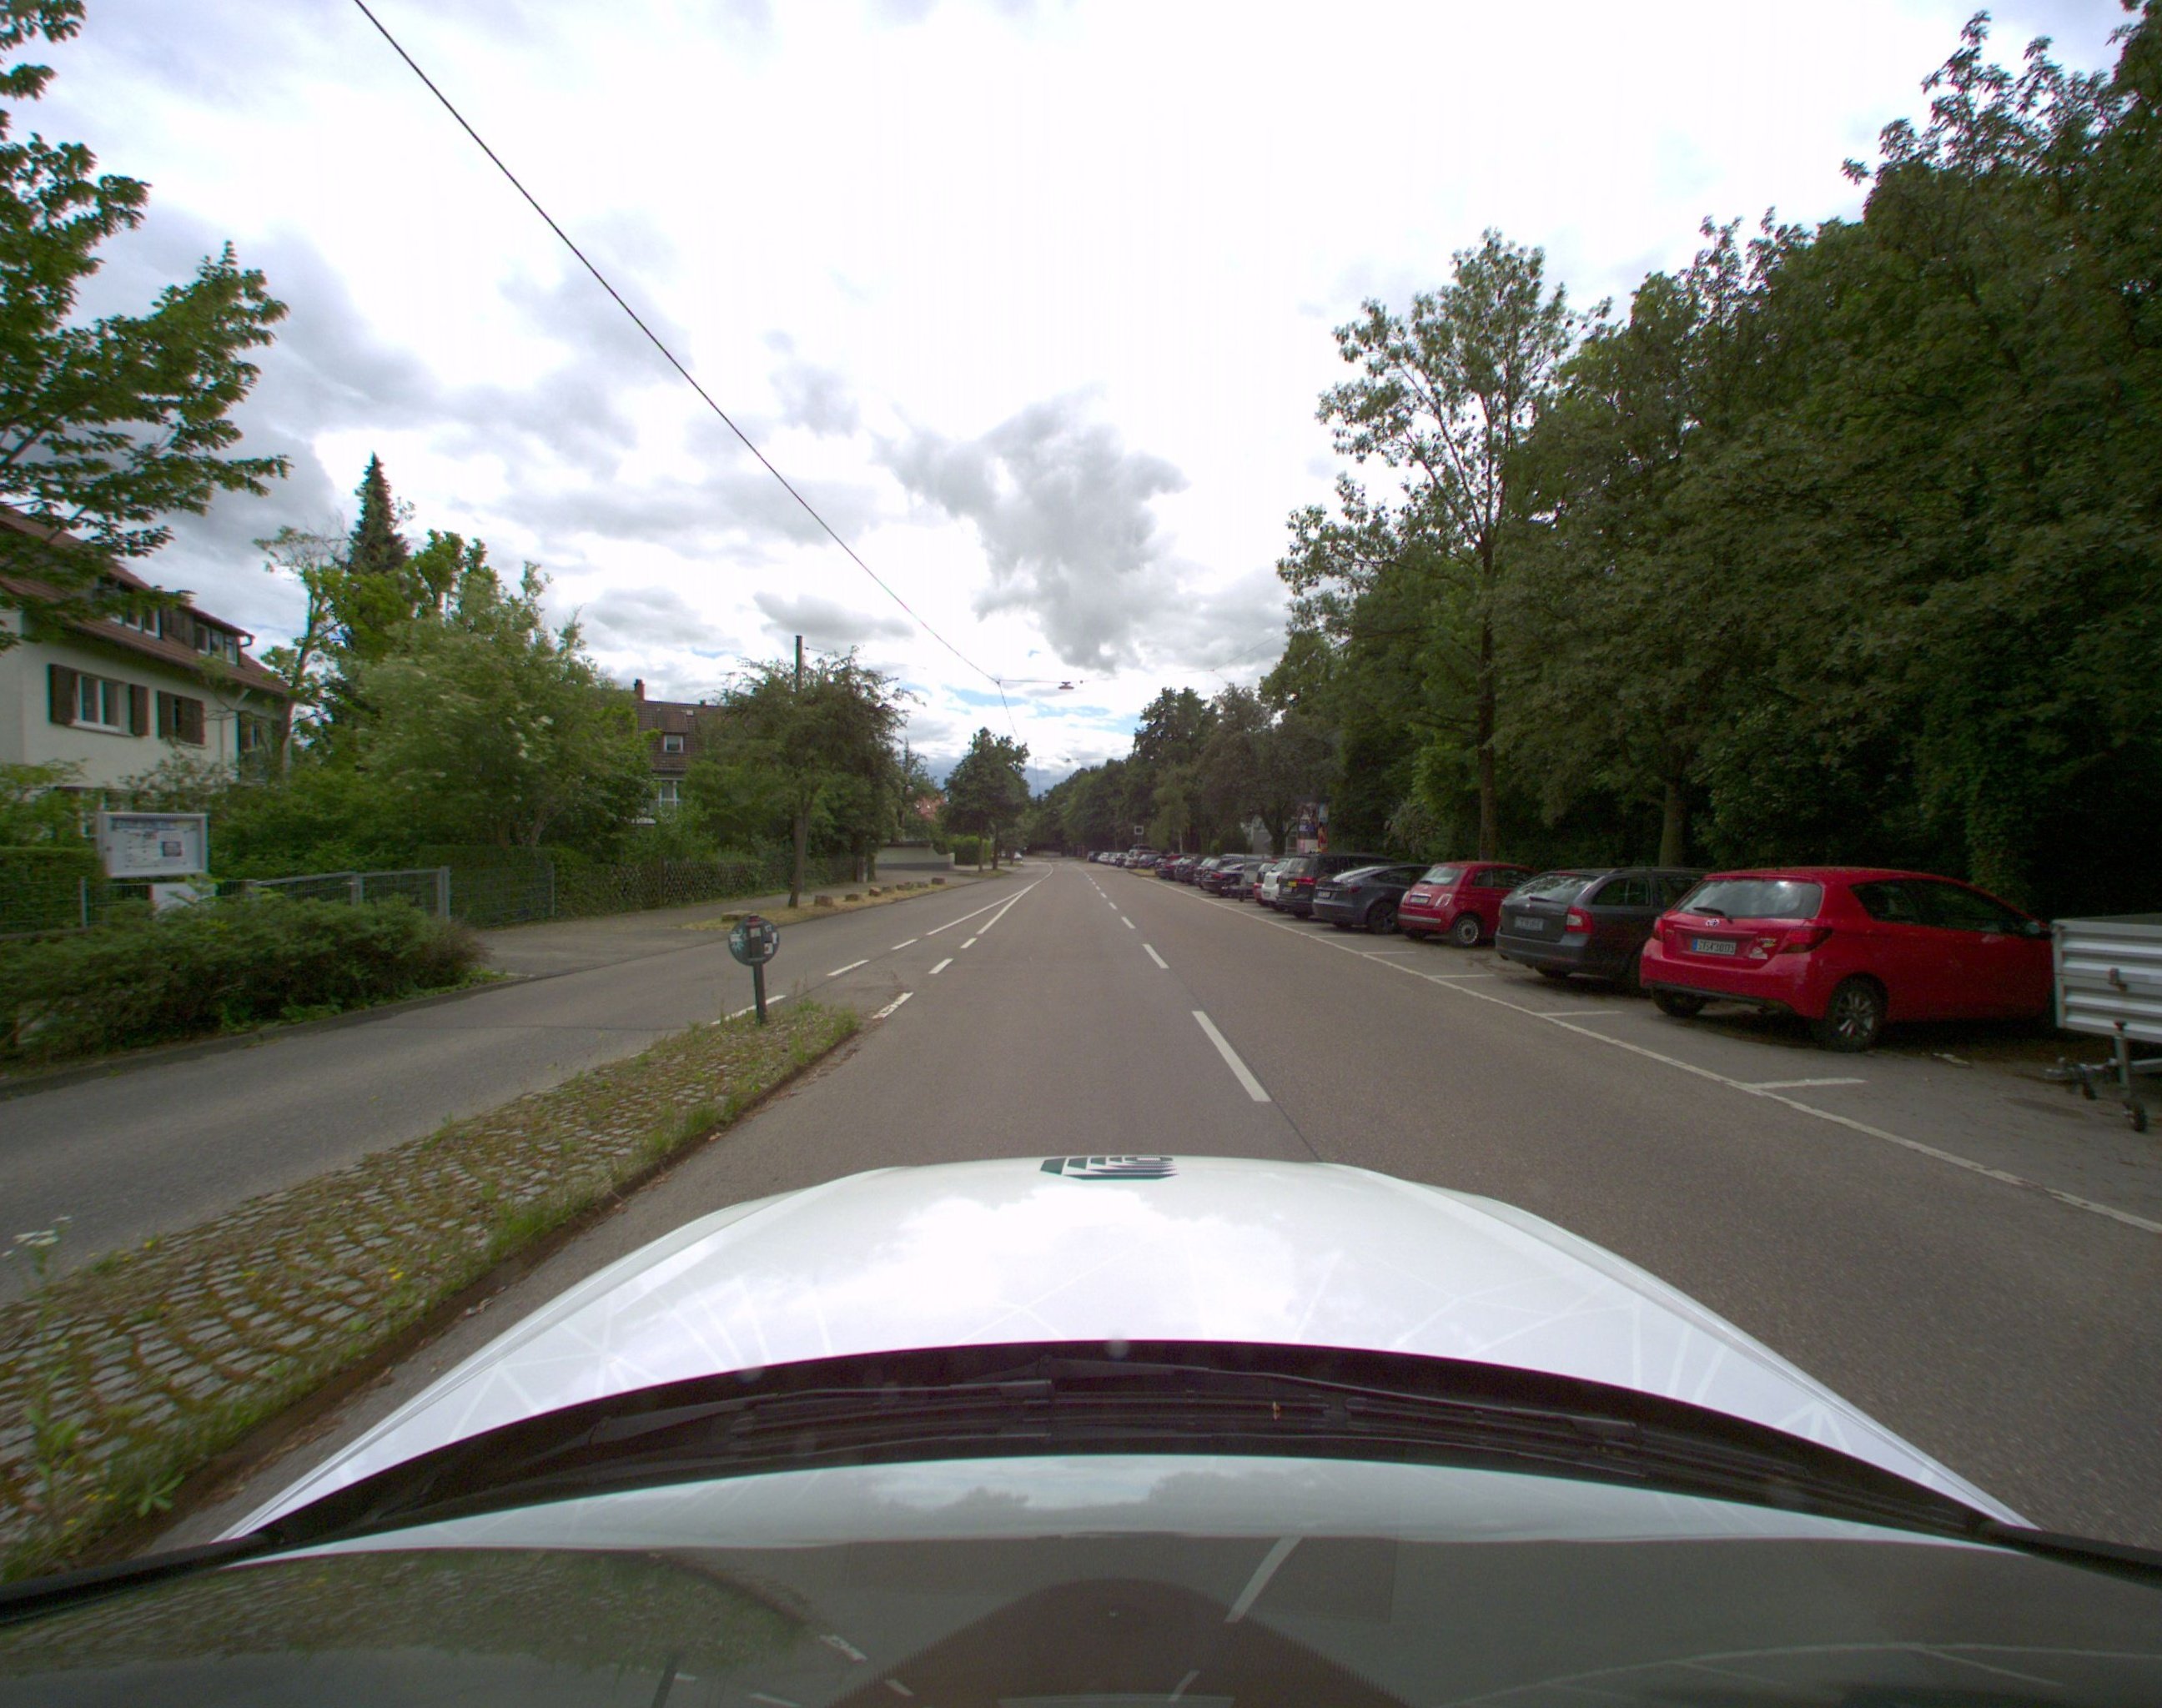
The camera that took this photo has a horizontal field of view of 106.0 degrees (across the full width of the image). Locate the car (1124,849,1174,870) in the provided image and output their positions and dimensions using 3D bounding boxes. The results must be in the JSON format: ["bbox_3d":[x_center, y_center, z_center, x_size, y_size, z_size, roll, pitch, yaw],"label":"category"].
[{"bbox_3d":[6.005,0.446,71.752,4.109,1.754,1.771,1,0,-28],"label":"car"}]

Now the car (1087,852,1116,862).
[{"bbox_3d":[2.973,0.488,119.627,3.898,1.429,1.732,1,0,-21],"label":"car"}]

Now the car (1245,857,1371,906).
[{"bbox_3d":[6.974,0.842,25.121,3.428,1.445,1.552,1,0,-13],"label":"car"}]

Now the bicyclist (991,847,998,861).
[{"bbox_3d":[-10.822,-0.007,101.850,0.843,1.697,0.712,1,1,-5],"label":"bicyclist"}]

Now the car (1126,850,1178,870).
[{"bbox_3d":[5.995,0.516,68.862,4.006,1.620,1.874,1,0,-17],"label":"car"}]

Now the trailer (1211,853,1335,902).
[{"bbox_3d":[6.434,0.791,27.389,3.691,1.535,1.639,1,0,-12],"label":"trailer"}]

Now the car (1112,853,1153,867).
[{"bbox_3d":[5.390,0.606,85.331,3.903,1.449,1.829,1,0,-25],"label":"car"}]

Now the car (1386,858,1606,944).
[{"bbox_3d":[7.597,0.831,15.030,3.327,1.464,1.629,1,0,-11],"label":"car"}]

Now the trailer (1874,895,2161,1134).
[{"bbox_3d":[7.574,0.945,5.445,3.402,1.267,1.611,1,-1,-11],"label":"trailer"}]

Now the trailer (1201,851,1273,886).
[{"bbox_3d":[7.218,0.683,37.769,2.990,1.542,1.297,1,1,-14],"label":"trailer"}]

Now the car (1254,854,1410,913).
[{"bbox_3d":[6.901,0.791,22.592,3.814,1.529,1.603,1,0,-5],"label":"car"}]

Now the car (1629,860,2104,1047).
[{"bbox_3d":[7.316,0.822,7.695,3.527,1.476,1.585,1,0,-13],"label":"car"}]

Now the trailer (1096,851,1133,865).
[{"bbox_3d":[4.094,0.516,98.611,4.168,1.573,1.700,1,0,-20],"label":"trailer"}]

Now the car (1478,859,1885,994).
[{"bbox_3d":[7.376,0.832,10.145,4.219,1.464,1.629,1,0,-10],"label":"car"}]

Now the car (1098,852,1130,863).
[{"bbox_3d":[4.326,0.504,107.091,3.898,1.429,1.732,1,0,-21],"label":"car"}]

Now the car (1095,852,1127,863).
[{"bbox_3d":[4.000,0.463,109.657,3.898,1.429,1.732,1,0,-21],"label":"car"}]

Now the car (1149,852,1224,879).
[{"bbox_3d":[6.262,0.669,48.330,4.089,1.515,1.720,0,0,-23],"label":"car"}]

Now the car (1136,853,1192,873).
[{"bbox_3d":[6.449,0.681,63.456,3.972,1.405,1.747,1,0,-16],"label":"car"}]

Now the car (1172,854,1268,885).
[{"bbox_3d":[6.814,0.748,39.975,4.352,1.445,1.626,1,0,-15],"label":"car"}]

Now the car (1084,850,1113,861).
[{"bbox_3d":[2.636,0.208,122.407,3.898,1.668,1.732,1,0,-21],"label":"car"}]

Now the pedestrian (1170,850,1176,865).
[{"bbox_3d":[10.442,0.402,92.144,0.646,1.671,0.744,0,0,5],"label":"pedestrian"}]

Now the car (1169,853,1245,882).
[{"bbox_3d":[6.614,0.696,42.925,3.618,1.445,1.625,1,0,-17],"label":"car"}]

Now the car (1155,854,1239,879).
[{"bbox_3d":[6.472,0.692,45.491,4.319,1.341,1.725,1,0,-15],"label":"car"}]

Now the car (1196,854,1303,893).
[{"bbox_3d":[6.772,0.774,32.819,3.919,1.486,1.609,1,0,-16],"label":"car"}]

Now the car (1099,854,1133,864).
[{"bbox_3d":[4.315,0.625,101.305,3.904,1.309,1.729,1,0,-25],"label":"car"}]

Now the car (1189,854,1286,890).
[{"bbox_3d":[6.785,0.774,35.389,3.844,1.455,1.627,1,0,-13],"label":"car"}]

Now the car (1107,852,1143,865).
[{"bbox_3d":[5.223,0.544,96.466,3.900,1.449,1.731,1,0,-23],"label":"car"}]

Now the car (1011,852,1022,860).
[{"bbox_3d":[-12.826,0.361,161.180,1.866,1.471,3.989,0,0,-8],"label":"car"}]

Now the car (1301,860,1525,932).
[{"bbox_3d":[6.957,0.852,17.204,4.162,1.407,1.691,1,0,-12],"label":"car"}]

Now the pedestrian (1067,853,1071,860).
[{"bbox_3d":[-2.658,0.479,176.834,0.737,1.570,0.653,0,0,10],"label":"pedestrian"}]

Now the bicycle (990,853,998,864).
[{"bbox_3d":[-10.835,0.579,101.847,0.843,1.266,2.649,1,1,-3],"label":"bicycle"}]

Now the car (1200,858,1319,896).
[{"bbox_3d":[6.533,0.848,29.943,4.037,1.327,1.554,1,-1,-10],"label":"car"}]

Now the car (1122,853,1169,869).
[{"bbox_3d":[5.925,0.649,75.053,3.975,1.449,1.908,1,0,-16],"label":"car"}]

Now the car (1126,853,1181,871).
[{"bbox_3d":[5.839,0.656,65.754,4.040,1.405,1.745,1,0,-19],"label":"car"}]

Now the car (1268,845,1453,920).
[{"bbox_3d":[6.767,0.686,19.870,3.986,1.725,1.675,1,0,-10],"label":"car"}]
